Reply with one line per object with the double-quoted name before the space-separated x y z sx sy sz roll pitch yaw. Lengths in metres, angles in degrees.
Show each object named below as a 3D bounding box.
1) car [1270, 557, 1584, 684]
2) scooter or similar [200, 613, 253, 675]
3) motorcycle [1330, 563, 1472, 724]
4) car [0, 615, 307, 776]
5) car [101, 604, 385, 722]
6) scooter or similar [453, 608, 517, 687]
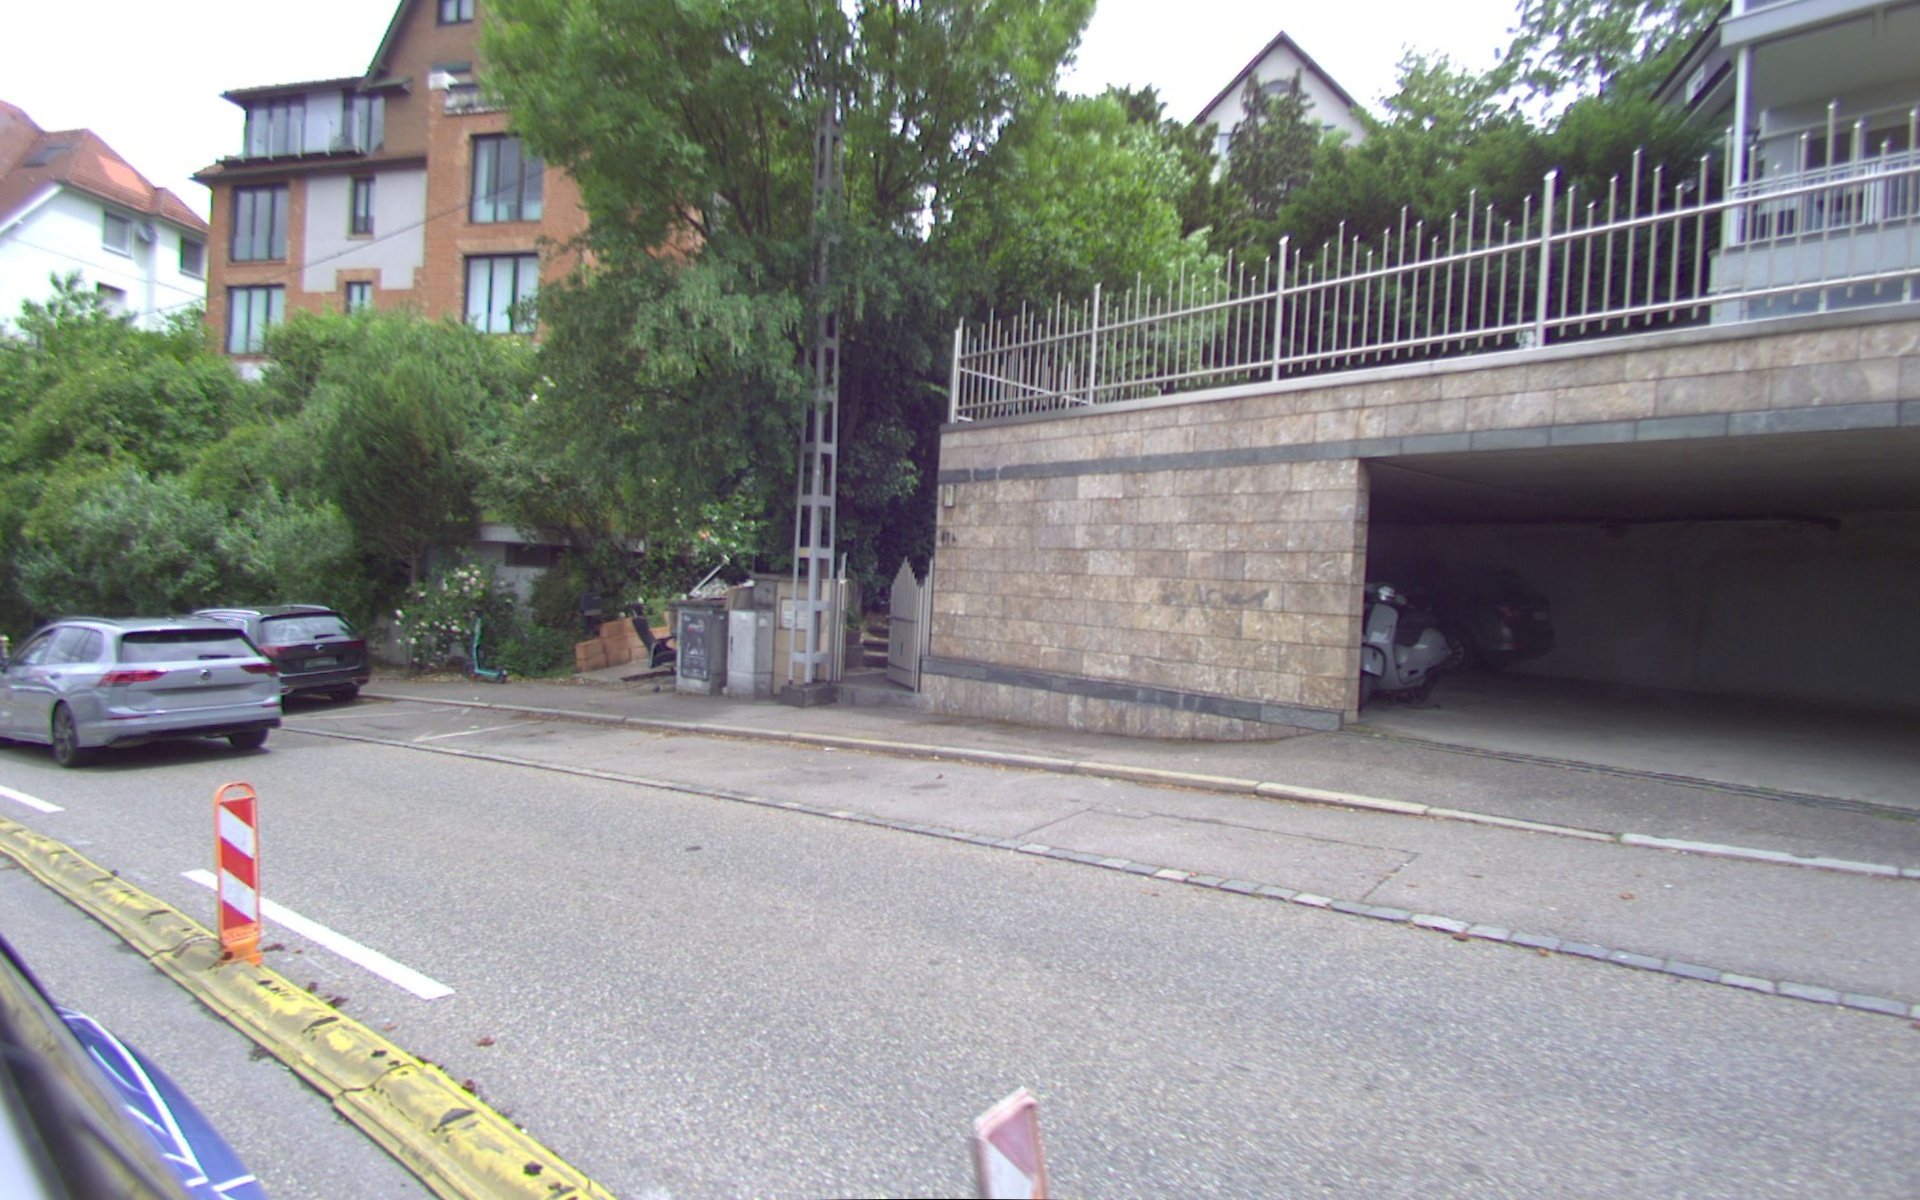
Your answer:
"car" 6.357 0.199 13.988 3.547 1.520 1.750 2 2 45
"scooter or similar" -14.758 0.877 20.364 1.039 1.222 0.347 -1 2 24
"motorcycle" 4.027 0.345 9.190 0.706 1.332 1.584 1 2 42
"car" -9.100 0.898 11.038 4.296 1.446 1.753 -1 -1 33
"car" -10.794 0.842 15.145 4.667 1.462 1.723 -1 2 31
"scooter or similar" -7.830 0.761 16.666 1.118 1.241 0.412 0 2 35
